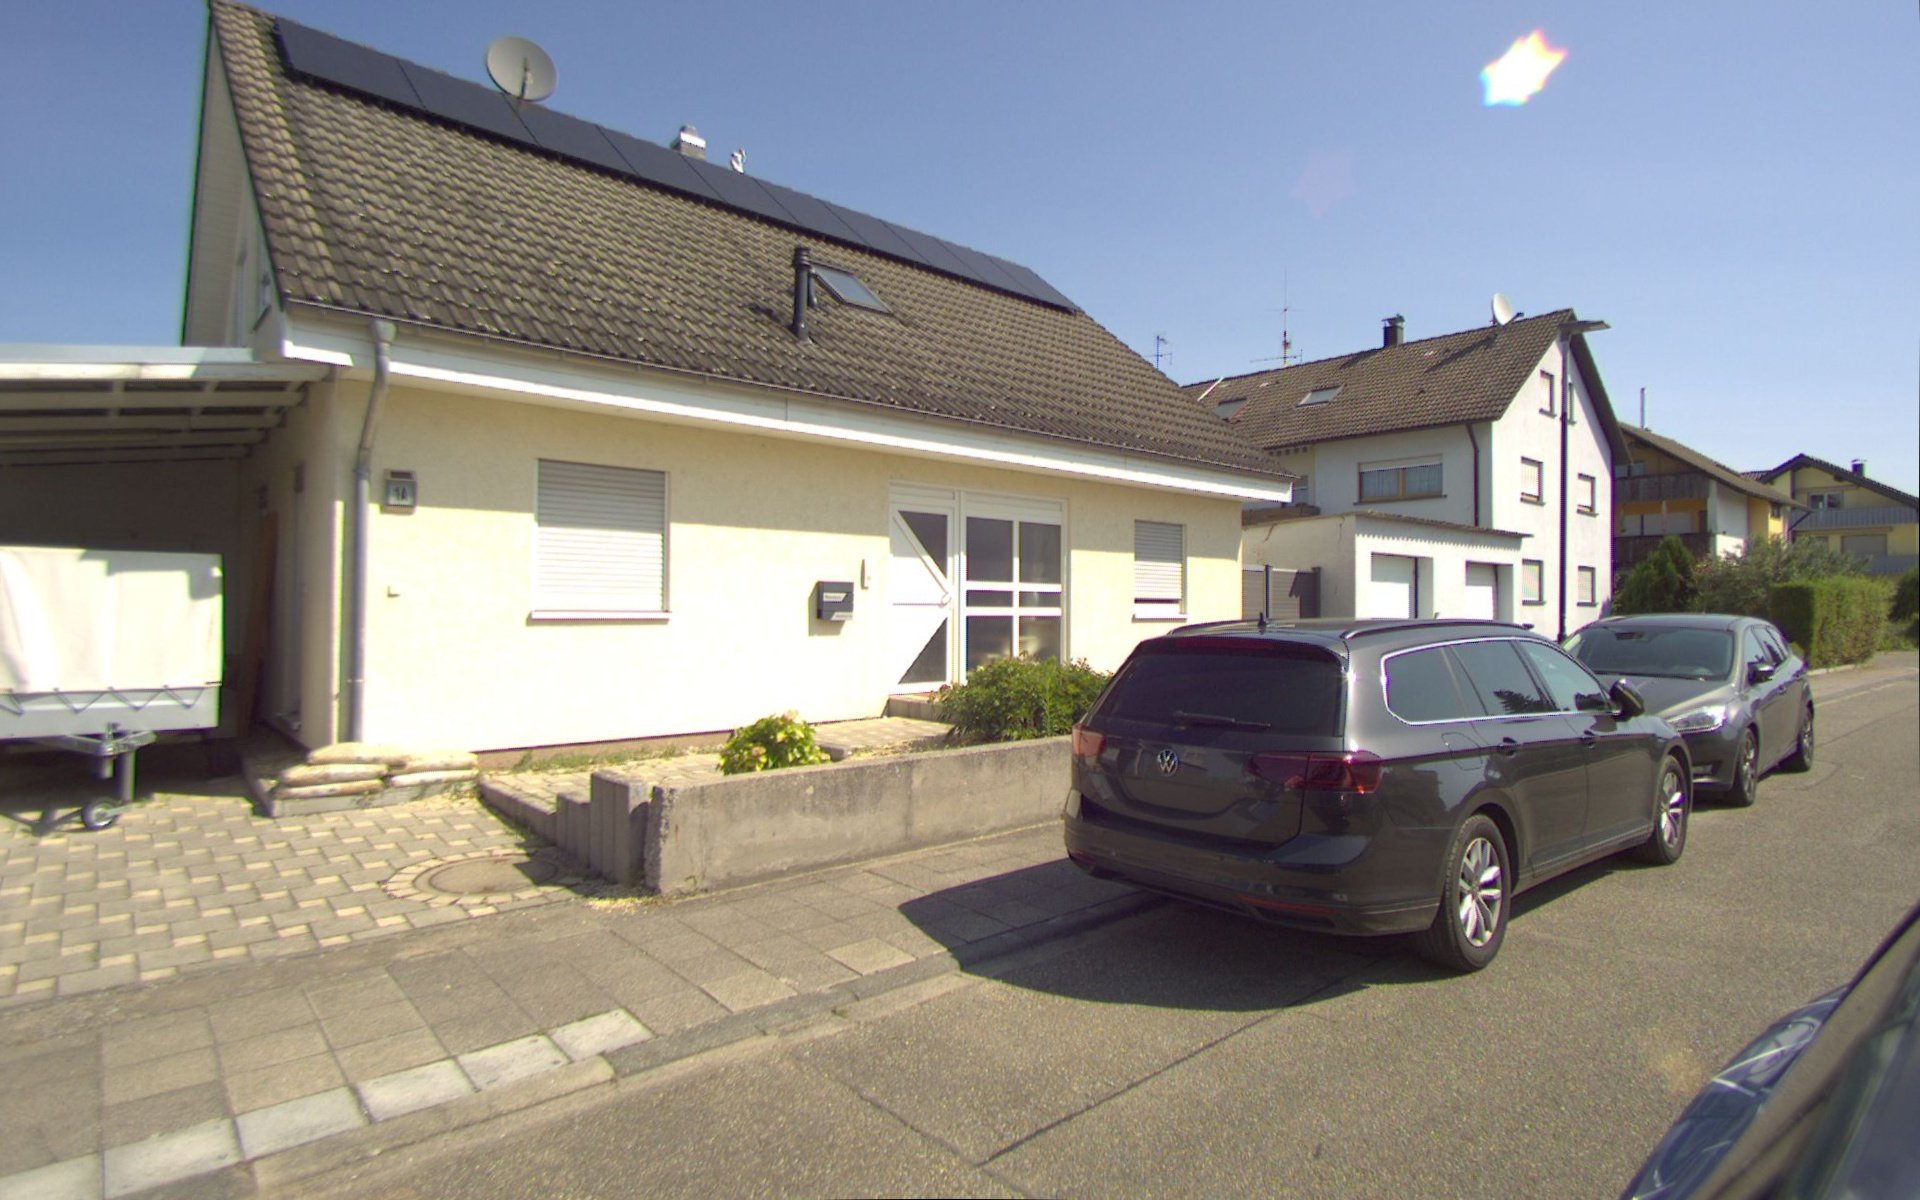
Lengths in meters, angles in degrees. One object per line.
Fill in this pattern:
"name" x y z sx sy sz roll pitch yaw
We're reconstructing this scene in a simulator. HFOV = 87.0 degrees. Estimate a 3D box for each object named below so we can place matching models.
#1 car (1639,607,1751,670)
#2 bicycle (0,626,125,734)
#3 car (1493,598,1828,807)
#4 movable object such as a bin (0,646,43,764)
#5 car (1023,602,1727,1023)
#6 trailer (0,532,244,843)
"car" 17.355 0.861 23.855 3.466 1.376 1.496 1 -1 -43
"bicycle" -9.117 0.754 9.616 1.797 0.981 0.558 1 -1 -42
"car" 6.494 0.794 9.224 3.931 1.498 1.644 1 -3 -42
"movable object such as a bin" -7.809 0.826 8.074 0.625 0.875 0.835 1 -1 -36
"car" 2.554 0.775 5.615 4.422 1.457 1.720 0 -3 -40
"trailer" -5.892 0.479 6.914 1.378 1.711 2.839 1 -1 -40
